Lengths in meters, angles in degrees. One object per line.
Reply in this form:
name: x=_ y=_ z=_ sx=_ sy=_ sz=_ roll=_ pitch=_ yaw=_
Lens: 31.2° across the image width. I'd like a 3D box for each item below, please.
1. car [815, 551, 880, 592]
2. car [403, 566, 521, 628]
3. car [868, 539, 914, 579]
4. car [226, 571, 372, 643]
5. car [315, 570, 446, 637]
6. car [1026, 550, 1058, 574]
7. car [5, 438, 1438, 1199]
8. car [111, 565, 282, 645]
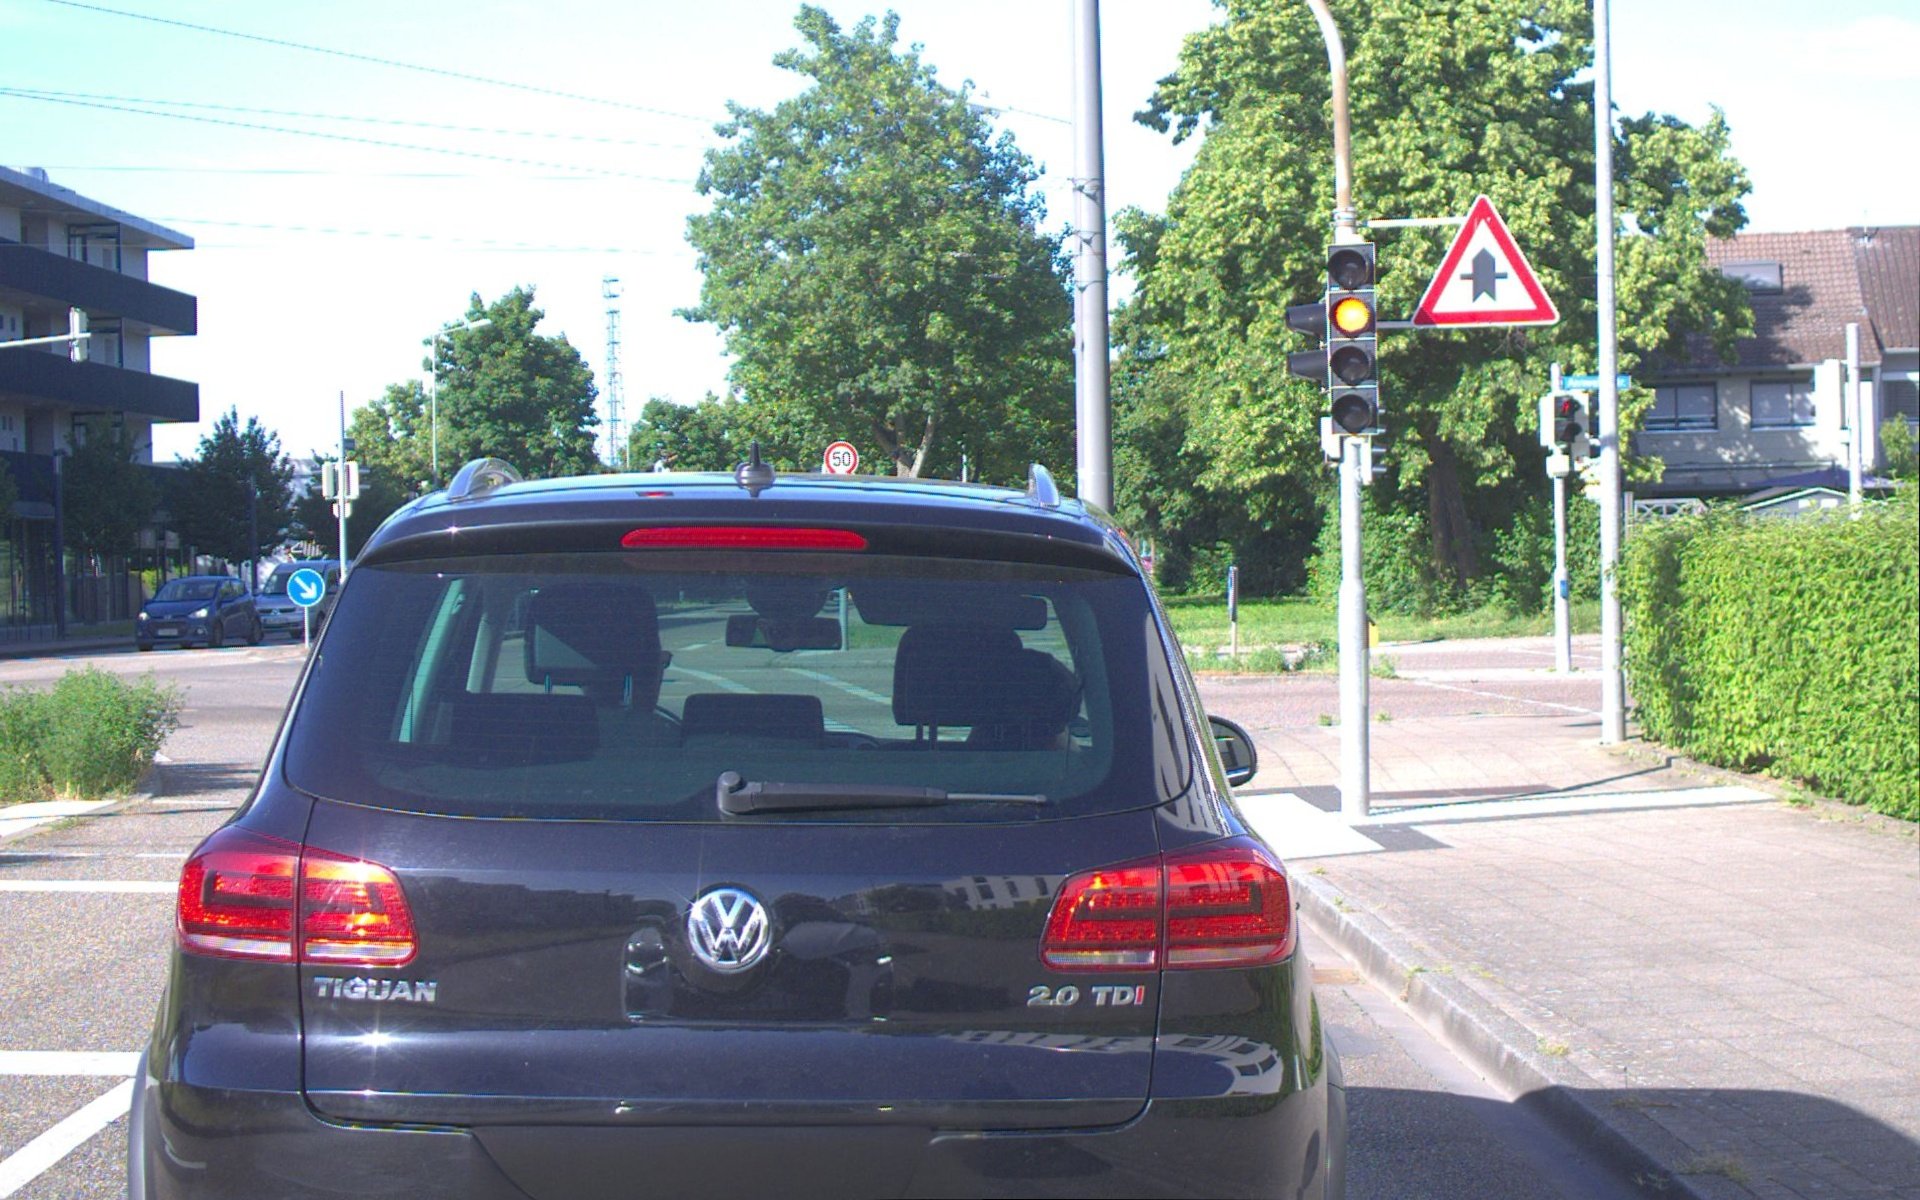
car: x=-4.275 y=-1.097 z=131.450 sx=1.864 sy=1.480 sz=4.109 roll=-1 pitch=1 yaw=7
car: x=-13.144 y=-0.098 z=90.905 sx=1.994 sy=1.569 sz=4.338 roll=1 pitch=1 yaw=7
car: x=-3.041 y=-1.817 z=152.069 sx=1.864 sy=1.714 sz=3.687 roll=-1 pitch=1 yaw=1
car: x=-14.999 y=0.143 z=78.227 sx=1.994 sy=1.569 sz=4.338 roll=1 pitch=1 yaw=7
car: x=-14.171 y=0.063 z=84.350 sx=1.994 sy=1.569 sz=4.338 roll=1 pitch=1 yaw=7
car: x=5.834 y=-2.723 z=245.236 sx=1.993 sy=1.678 sz=4.000 roll=1 pitch=1 yaw=-2
car: x=-0.340 y=0.596 z=6.520 sx=1.869 sy=1.632 sz=4.000 roll=1 pitch=1 yaw=-1
car: x=-15.816 y=0.084 z=71.458 sx=1.994 sy=1.569 sz=4.337 roll=1 pitch=1 yaw=9
